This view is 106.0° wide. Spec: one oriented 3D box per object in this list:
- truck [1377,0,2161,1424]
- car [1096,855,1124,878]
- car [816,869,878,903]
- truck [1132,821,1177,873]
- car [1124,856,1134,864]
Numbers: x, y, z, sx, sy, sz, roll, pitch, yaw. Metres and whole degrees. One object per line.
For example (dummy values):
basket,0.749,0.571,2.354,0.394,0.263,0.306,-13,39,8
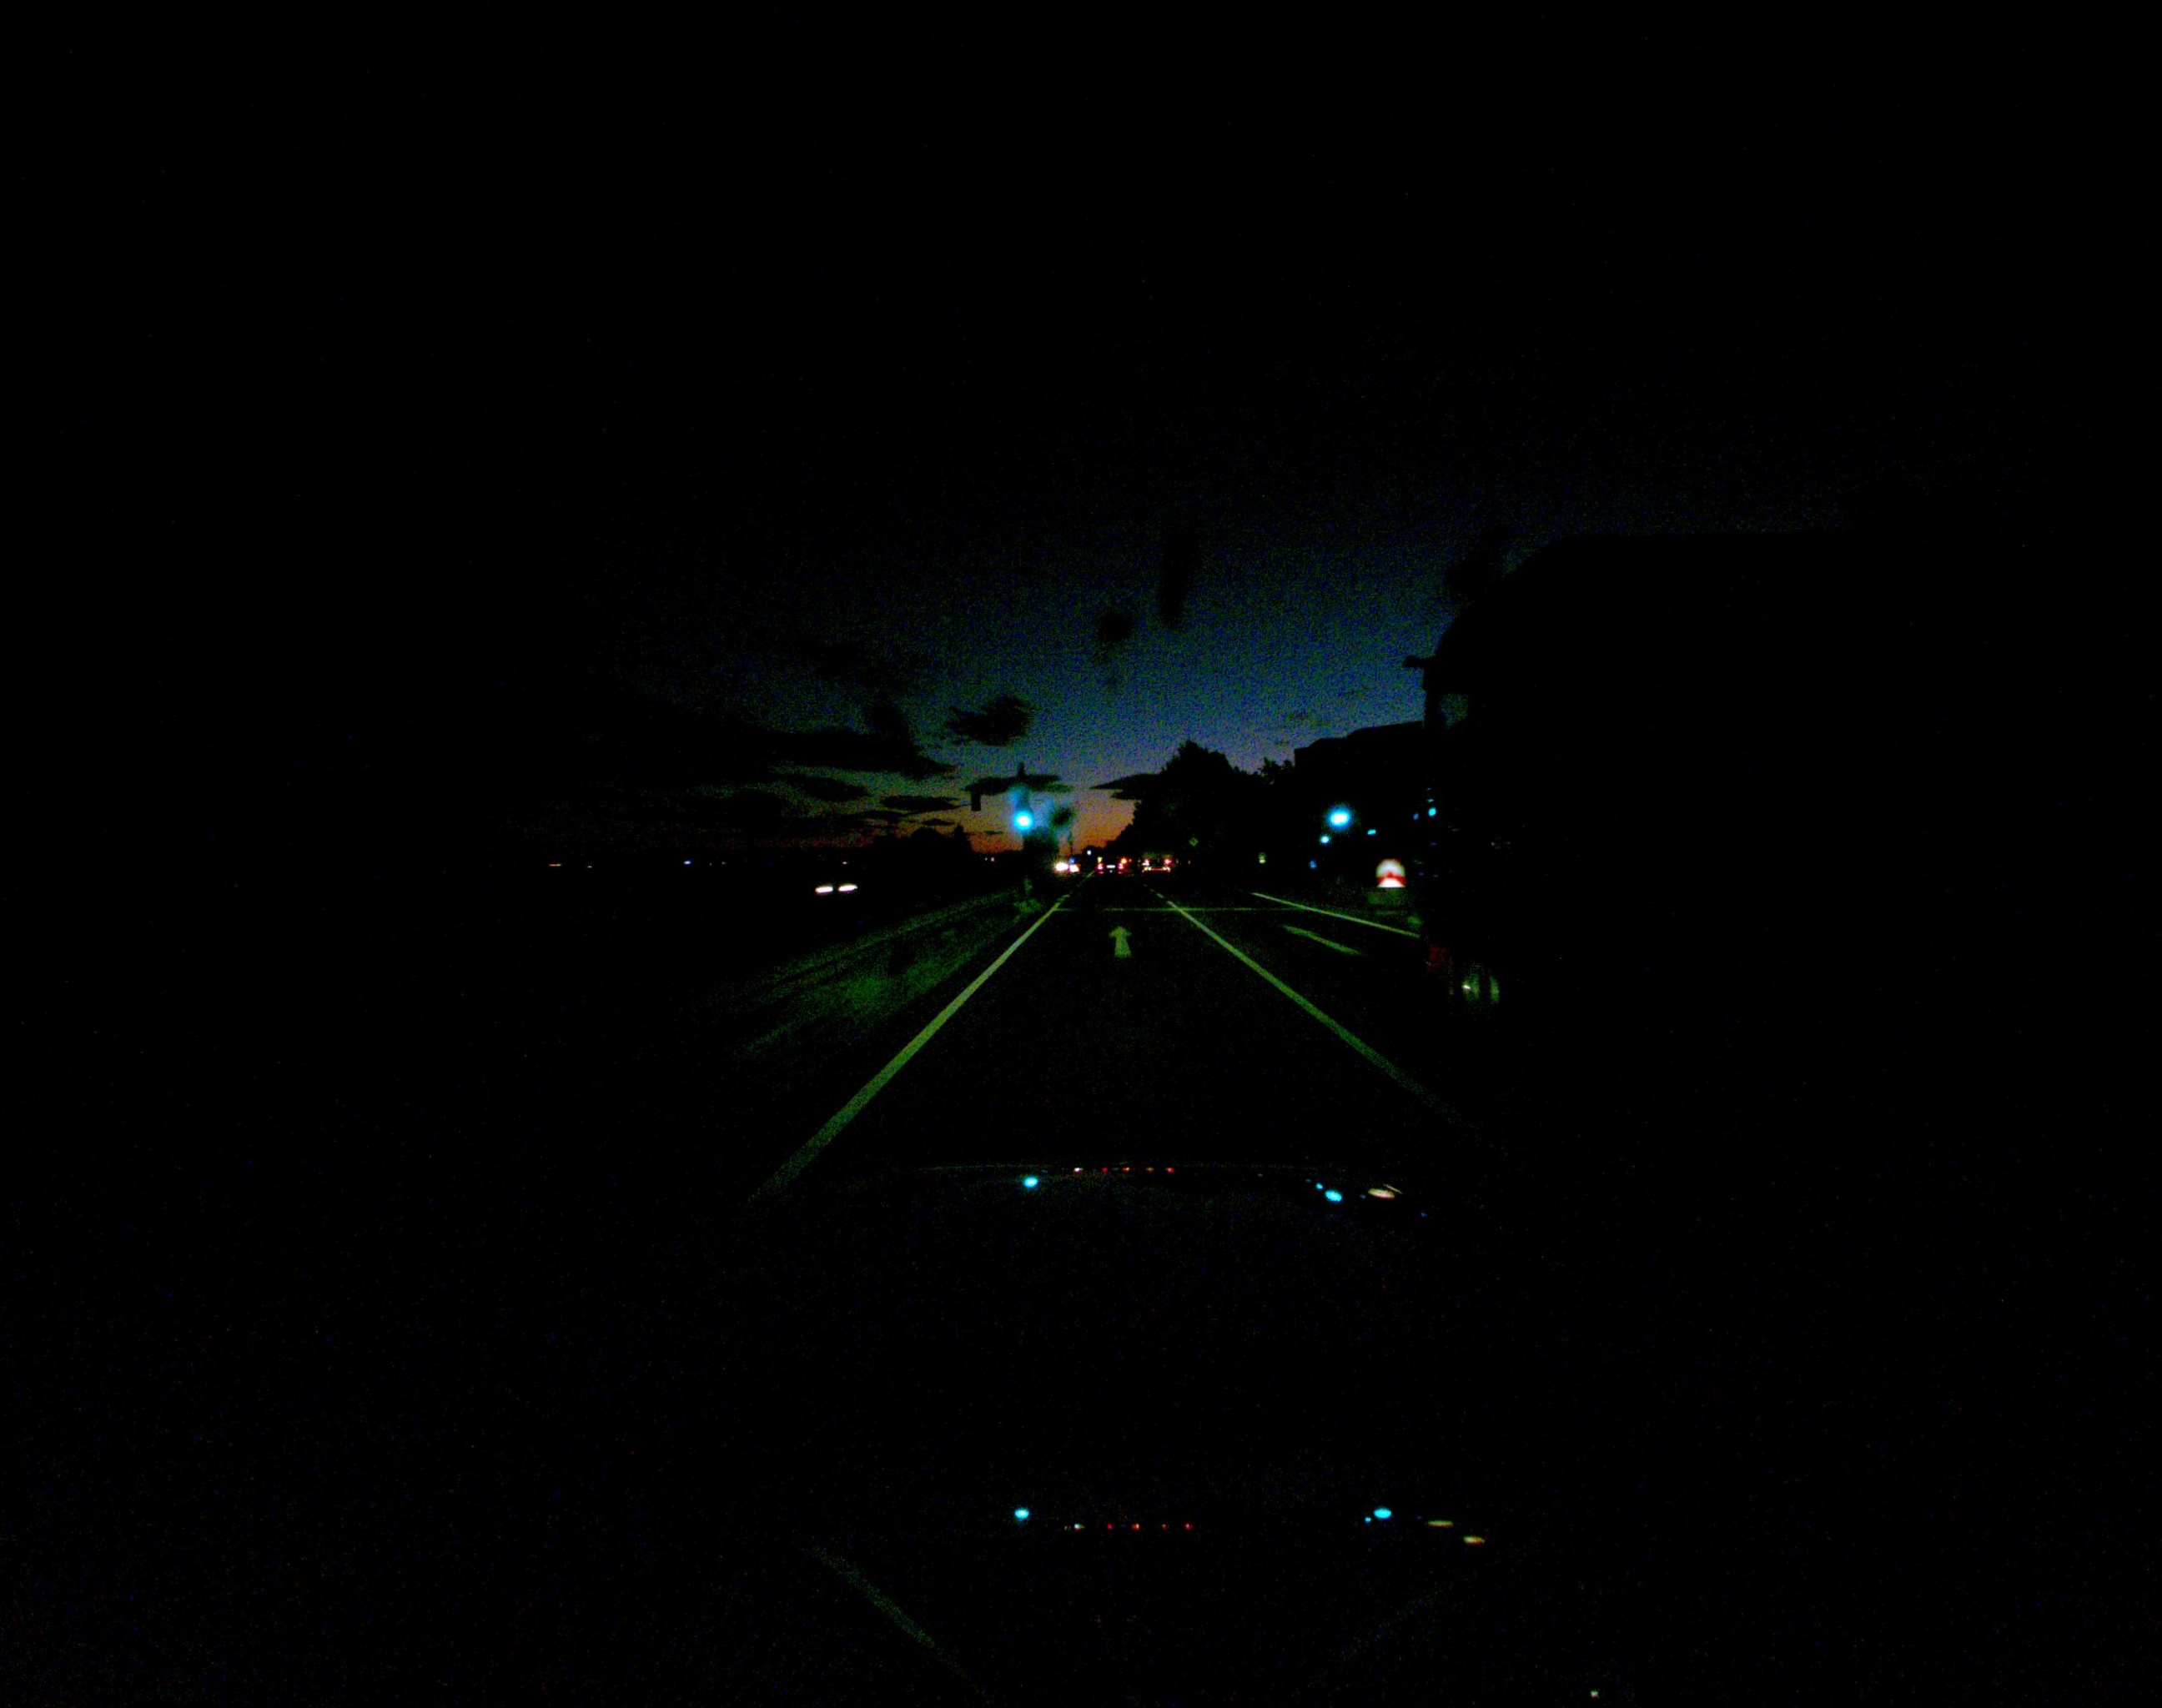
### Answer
truck,4.019,-0.633,1.364,2.677,4.106,13.147,-1,0,2
car,1.886,0.797,53.967,1.690,1.452,3.914,-1,0,0
car,-10.783,1.448,37.750,1.600,1.330,3.939,-4,0,0
truck,6.274,-0.567,71.631,2.873,4.106,12.683,-1,0,1
car,9.485,1.232,160.861,1.690,1.452,3.914,-1,0,0
